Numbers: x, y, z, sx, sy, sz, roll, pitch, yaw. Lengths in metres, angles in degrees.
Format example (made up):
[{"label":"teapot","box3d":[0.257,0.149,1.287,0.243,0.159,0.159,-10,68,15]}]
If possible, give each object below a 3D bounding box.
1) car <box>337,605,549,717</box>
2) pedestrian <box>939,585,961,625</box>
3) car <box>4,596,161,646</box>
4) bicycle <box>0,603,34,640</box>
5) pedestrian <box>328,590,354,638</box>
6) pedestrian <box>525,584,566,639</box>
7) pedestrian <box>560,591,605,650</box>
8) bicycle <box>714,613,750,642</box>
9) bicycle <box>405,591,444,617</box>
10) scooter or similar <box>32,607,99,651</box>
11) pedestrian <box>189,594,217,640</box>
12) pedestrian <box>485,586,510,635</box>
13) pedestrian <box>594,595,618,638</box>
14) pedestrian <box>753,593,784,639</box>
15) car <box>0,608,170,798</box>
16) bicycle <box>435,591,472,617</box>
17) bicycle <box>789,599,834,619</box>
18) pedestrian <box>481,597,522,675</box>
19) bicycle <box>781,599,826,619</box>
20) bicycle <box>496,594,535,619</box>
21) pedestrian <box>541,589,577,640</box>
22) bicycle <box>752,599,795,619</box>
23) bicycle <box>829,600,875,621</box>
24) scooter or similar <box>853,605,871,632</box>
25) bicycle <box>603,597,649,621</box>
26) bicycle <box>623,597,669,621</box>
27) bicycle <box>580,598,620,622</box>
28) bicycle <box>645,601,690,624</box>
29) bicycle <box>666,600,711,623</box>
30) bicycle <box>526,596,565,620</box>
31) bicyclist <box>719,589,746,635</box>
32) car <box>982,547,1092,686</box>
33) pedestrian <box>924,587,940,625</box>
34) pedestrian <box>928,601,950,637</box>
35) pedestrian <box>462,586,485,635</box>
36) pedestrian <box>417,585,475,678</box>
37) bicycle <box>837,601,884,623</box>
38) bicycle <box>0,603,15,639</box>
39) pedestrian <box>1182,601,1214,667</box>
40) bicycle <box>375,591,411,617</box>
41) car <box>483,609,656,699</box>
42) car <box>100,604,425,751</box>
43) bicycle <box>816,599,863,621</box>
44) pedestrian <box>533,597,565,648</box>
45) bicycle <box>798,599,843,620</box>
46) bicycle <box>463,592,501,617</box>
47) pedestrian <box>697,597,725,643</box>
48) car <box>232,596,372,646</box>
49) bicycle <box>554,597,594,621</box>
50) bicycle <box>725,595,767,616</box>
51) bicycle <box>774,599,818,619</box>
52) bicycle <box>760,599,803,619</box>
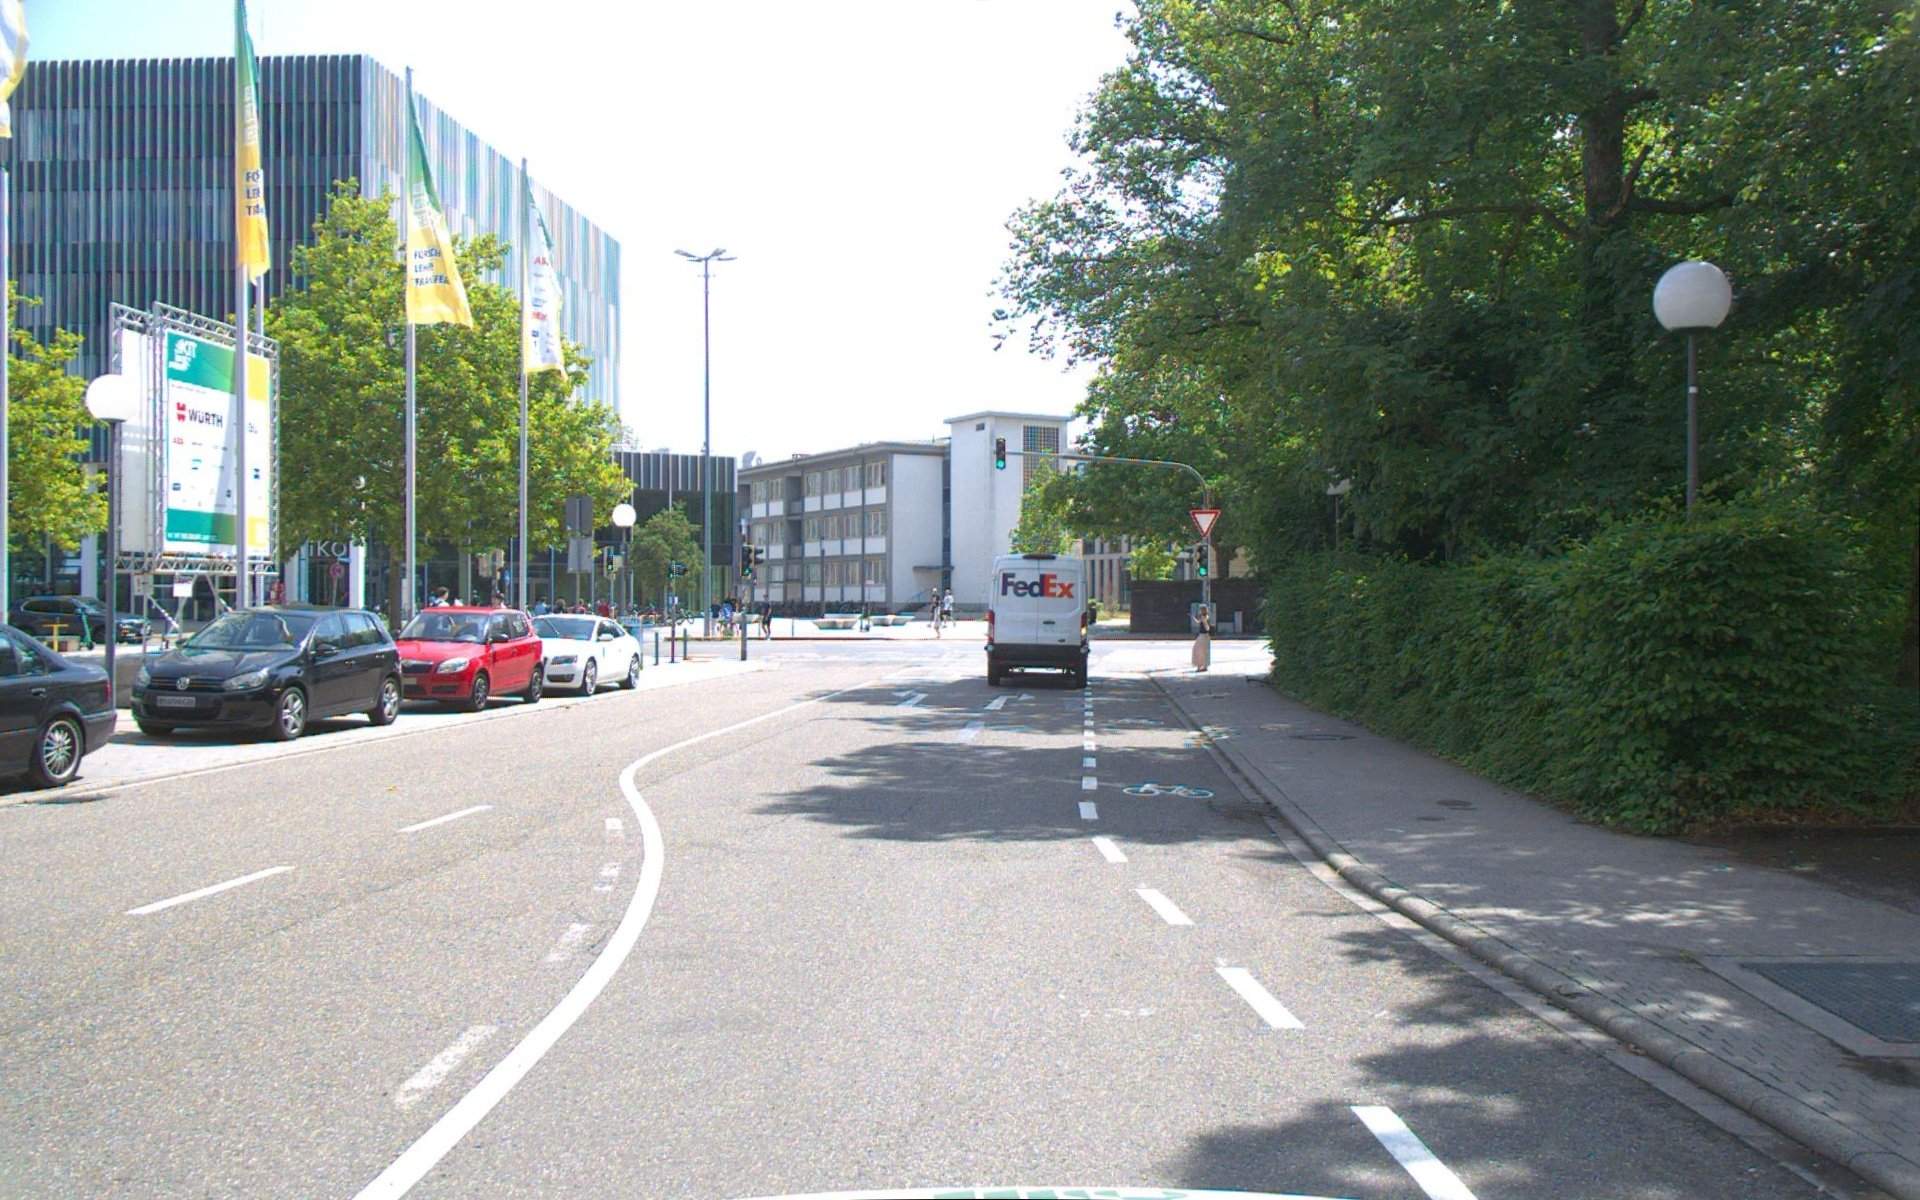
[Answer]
[{"label":"car","box3d":[-7.691,0.853,25.010,1.641,1.493,3.913,2,0,5]},{"label":"pedestrian","box3d":[-0.496,0.251,80.902,0.851,1.922,0.909,0,0,-15]},{"label":"car","box3d":[-30.728,0.726,57.967,4.708,1.690,1.654,0,0,6]},{"label":"bicycle","box3d":[-48.841,1.081,84.599,0.939,1.871,2.953,1,0,7]},{"label":"pedestrian","box3d":[-33.790,0.774,90.347,0.952,2.610,1.015,1,-1,4]},{"label":"pedestrian","box3d":[-14.122,0.401,56.371,0.844,1.850,1.094,0,0,28]},{"label":"pedestrian","box3d":[-12.057,0.649,52.866,0.790,1.839,1.267,0,0,22]},{"label":"bicycle","box3d":[-9.299,1.128,67.533,0.754,1.142,2.028,0,0,14]},{"label":"bicycle","box3d":[-27.213,0.202,84.070,1.358,1.259,2.922,1,0,-29]},{"label":"scooter or similar","box3d":[-24.833,0.803,45.938,1.692,1.217,0.494,0,0,10]},{"label":"pedestrian","box3d":[-40.135,0.902,87.689,0.952,2.387,1.015,1,-1,4]},{"label":"pedestrian","box3d":[-25.012,0.573,89.444,0.966,2.610,1.001,1,-1,-38]},{"label":"pedestrian","box3d":[-14.358,0.662,67.039,0.737,1.708,0.756,0,0,7]},{"label":"pedestrian","box3d":[-8.125,0.669,70.191,0.814,1.903,1.083,0,0,28]},{"label":"car","box3d":[-8.345,0.799,12.558,1.820,1.402,5.019,2,0,6]},{"label":"bicycle","box3d":[-25.978,0.202,84.785,1.184,1.259,2.922,1,0,-30]},{"label":"bicycle","box3d":[-10.252,0.629,114.465,2.929,1.387,1.104,1,0,-33]},{"label":"pedestrian","box3d":[-11.093,0.862,40.027,0.704,1.892,0.770,0,0,6]},{"label":"bicycle","box3d":[-10.924,0.654,115.575,2.929,1.387,1.104,1,0,-33]},{"label":"bicycle","box3d":[-23.239,0.349,86.440,1.185,1.259,2.920,1,0,-31]},{"label":"pedestrian","box3d":[-13.365,0.477,55.168,0.809,1.683,0.861,0,0,24]},{"label":"bicycle","box3d":[-13.577,0.647,120.199,2.929,1.387,1.104,1,0,-33]},{"label":"bicycle","box3d":[-7.166,0.680,109.712,2.929,1.387,1.104,1,0,-33]},{"label":"scooter or similar","box3d":[-4.528,0.839,75.980,0.703,1.198,2.722,0,1,-6]},{"label":"bicycle","box3d":[-18.274,0.483,90.490,1.190,1.259,2.907,1,0,-41]},{"label":"bicycle","box3d":[-17.360,0.497,91.336,1.190,1.259,2.907,1,0,-41]},{"label":"bicycle","box3d":[-19.610,0.523,89.991,1.186,1.259,2.918,1,0,-32]},{"label":"bicycle","box3d":[-16.297,0.682,92.049,1.190,1.259,2.907,1,0,-41]},{"label":"bicycle","box3d":[-15.238,0.640,92.776,1.190,1.259,2.907,1,0,-41]},{"label":"bicycle","box3d":[-22.061,0.404,87.936,1.185,1.259,2.919,1,0,-32]},{"label":"bicyclist","box3d":[-9.295,0.498,67.556,0.772,1.849,1.000,0,0,14]},{"label":"car","box3d":[1.632,0.302,33.957,2.051,2.611,5.605,0,0,4]},{"label":"pedestrian","box3d":[-1.385,0.283,81.511,0.657,1.847,0.812,0,0,-15]},{"label":"pedestrian","box3d":[-0.919,0.829,72.382,0.811,1.550,0.812,0,0,-15]},{"label":"pedestrian","box3d":[-26.080,0.578,88.663,0.963,2.610,1.004,1,-1,-32]},{"label":"pedestrian","box3d":[-10.672,0.647,34.357,0.704,1.883,1.089,1,0,8]},{"label":"bicycle","box3d":[-6.527,0.791,108.558,2.929,1.387,1.104,1,0,-33]},{"label":"bicycle","box3d":[-49.928,1.069,84.745,0.939,1.871,2.953,1,0,8]},{"label":"pedestrian","box3d":[5.869,0.833,40.800,0.715,1.603,0.776,1,0,5]},{"label":"bicycle","box3d":[-28.577,0.210,83.332,1.184,1.259,2.922,1,0,-30]},{"label":"car","box3d":[-7.020,0.925,30.206,1.641,1.419,4.665,2,0,5]},{"label":"car","box3d":[-8.143,0.831,19.769,1.711,1.493,4.199,2,0,6]},{"label":"bicycle","box3d":[-8.093,0.675,111.052,2.929,1.387,1.261,1,0,-33]},{"label":"pedestrian","box3d":[-13.240,0.731,53.249,0.754,1.626,0.799,0,0,6]},{"label":"bicycle","box3d":[-9.560,0.629,113.351,2.929,1.387,1.104,1,0,-33]},{"label":"bicycle","box3d":[-24.797,0.244,85.757,1.185,1.259,2.920,1,0,-31]},{"label":"pedestrian","box3d":[-10.499,0.840,69.791,0.687,1.887,1.400,0,1,14]},{"label":"car","box3d":[-22.813,0.718,57.418,4.191,1.690,1.654,0,1,6]},{"label":"bicycle","box3d":[-20.688,0.476,88.620,1.185,1.259,2.919,1,0,-32]},{"label":"bicycle","box3d":[-16.189,0.412,125.023,2.929,1.602,1.104,1,0,-33]},{"label":"bicycle","box3d":[-11.558,0.657,116.650,2.929,1.387,1.104,1,0,-33]},{"label":"bicycle","box3d":[-12.811,0.650,118.651,2.929,1.387,1.104,1,0,-33]}]
